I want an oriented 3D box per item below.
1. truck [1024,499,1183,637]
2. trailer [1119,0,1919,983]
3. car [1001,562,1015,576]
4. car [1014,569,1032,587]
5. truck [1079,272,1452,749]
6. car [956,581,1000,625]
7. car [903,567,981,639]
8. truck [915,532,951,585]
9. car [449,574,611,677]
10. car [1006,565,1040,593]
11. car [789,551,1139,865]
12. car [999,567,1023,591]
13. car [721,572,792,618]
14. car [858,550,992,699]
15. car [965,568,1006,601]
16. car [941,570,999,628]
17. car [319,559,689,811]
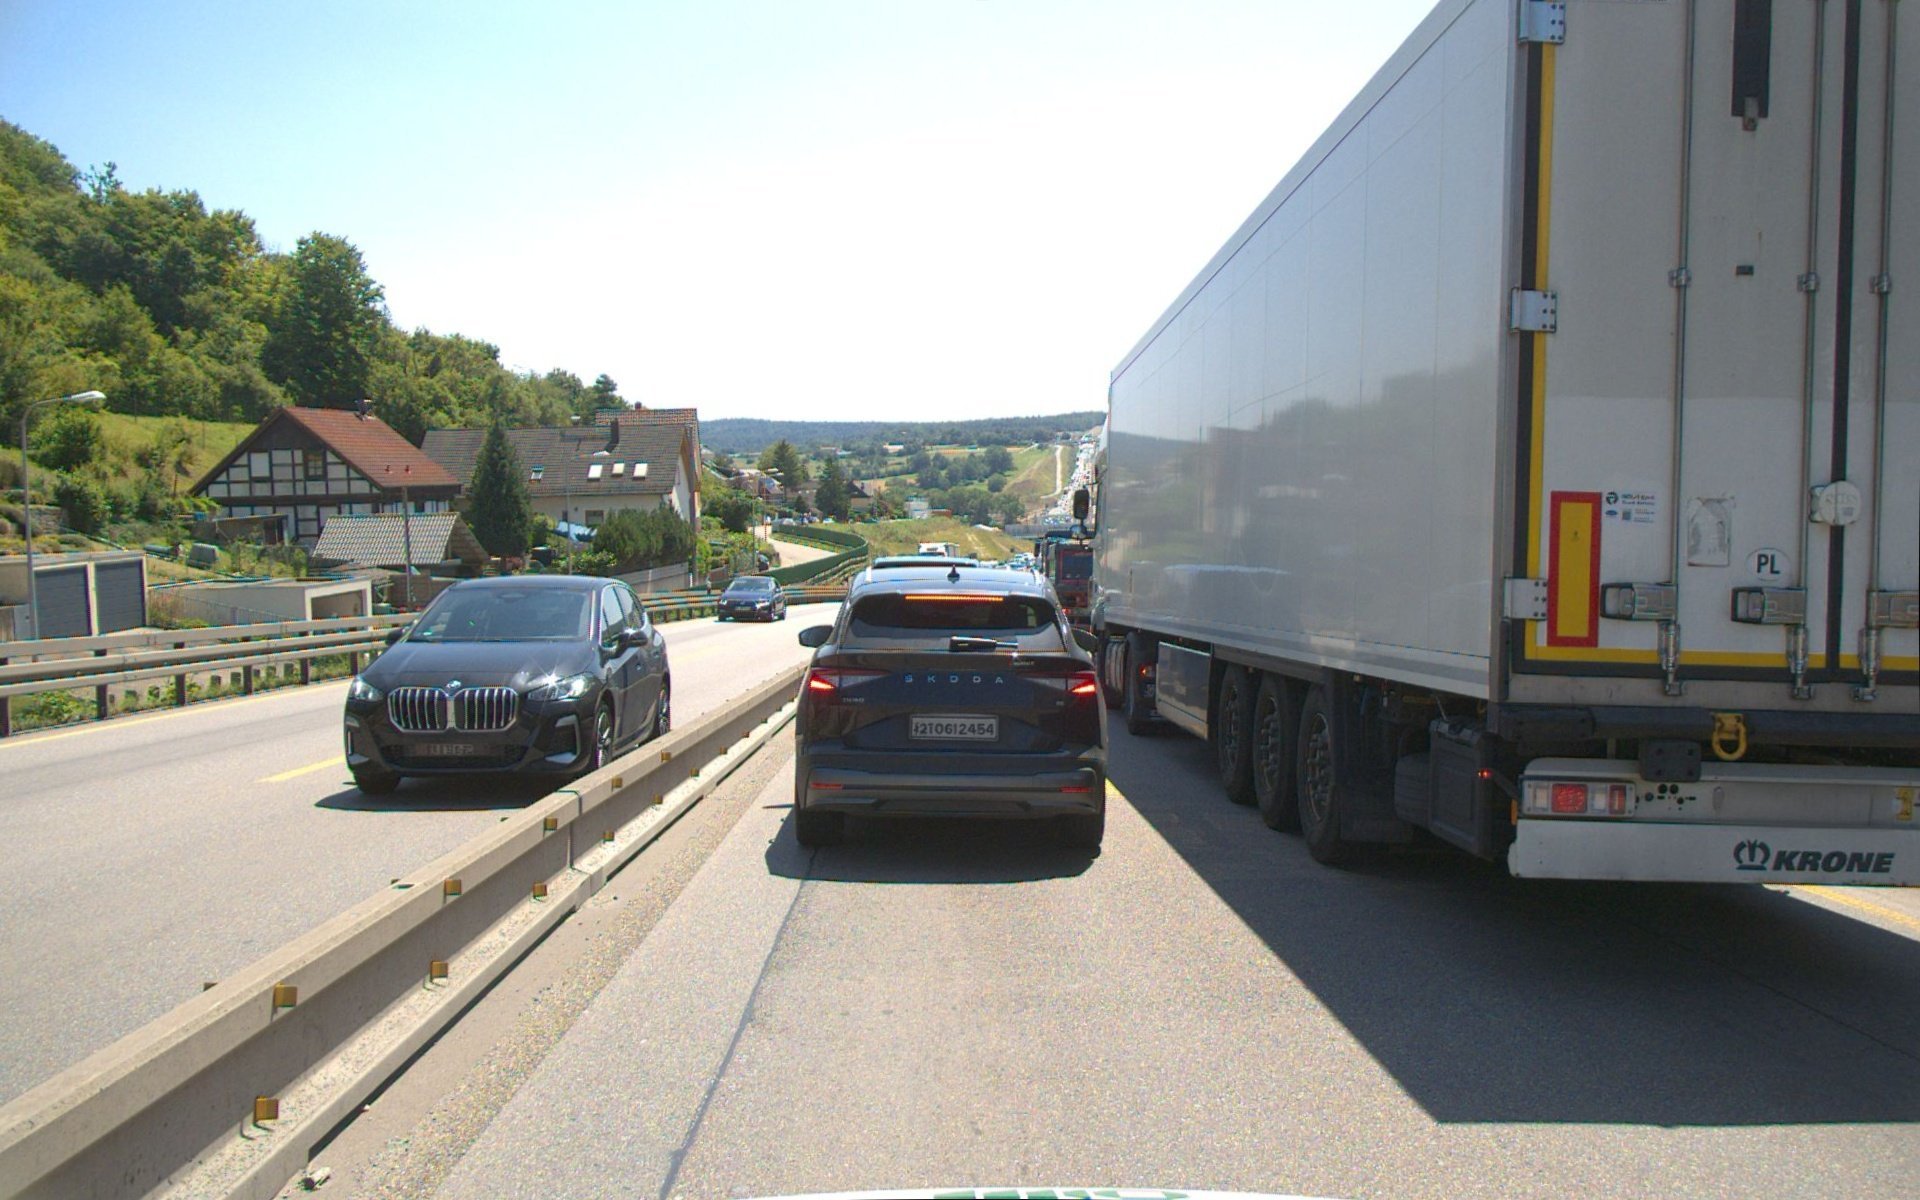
[{"bbox_3d":[3.647,-0.764,45.672,3.130,3.247,12.807,1,0,-1],"label":"truck"},{"bbox_3d":[3.105,-0.692,11.863,2.480,4.199,11.544,1,0,-1],"label":"trailer"},{"bbox_3d":[6.114,-3.923,210.370,1.665,1.758,3.838,1,0,3],"label":"car"},{"bbox_3d":[6.342,-2.202,165.289,1.665,1.758,3.838,1,0,4],"label":"car"},{"bbox_3d":[2.952,-0.770,18.481,2.462,4.095,8.236,1,0,-1],"label":"truck"},{"bbox_3d":[0.706,0.108,68.005,1.672,1.650,4.000,1,1,-1],"label":"car"},{"bbox_3d":[-0.501,0.037,41.356,1.673,1.650,3.997,1,1,-4],"label":"car"},{"bbox_3d":[-2.225,-3.442,138.418,2.694,4.358,4.959,1,1,2],"label":"truck"},{"bbox_3d":[-7.106,0.370,27.701,1.697,1.515,4.000,0,2,-1],"label":"car"},{"bbox_3d":[3.894,-1.285,103.076,1.953,1.613,3.836,1,0,0],"label":"car"},{"bbox_3d":[-0.114,0.571,10.582,1.806,1.614,3.904,1,0,-4],"label":"car"},{"bbox_3d":[3.995,-1.614,128.913,1.665,1.758,3.838,1,0,4],"label":"car"},{"bbox_3d":[-6.703,-0.162,54.868,1.804,1.443,4.686,-1,0,-1],"label":"car"},{"bbox_3d":[-0.575,0.265,23.508,1.673,1.914,3.997,1,1,-4],"label":"car"},{"bbox_3d":[1.250,-0.756,82.741,1.953,1.613,3.836,1,0,0],"label":"car"},{"bbox_3d":[0.276,-0.057,50.548,1.672,1.650,4.000,1,1,-1],"label":"car"},{"bbox_3d":[-3.401,0.571,13.184,1.782,1.614,4.158,3,0,-1],"label":"car"}]
